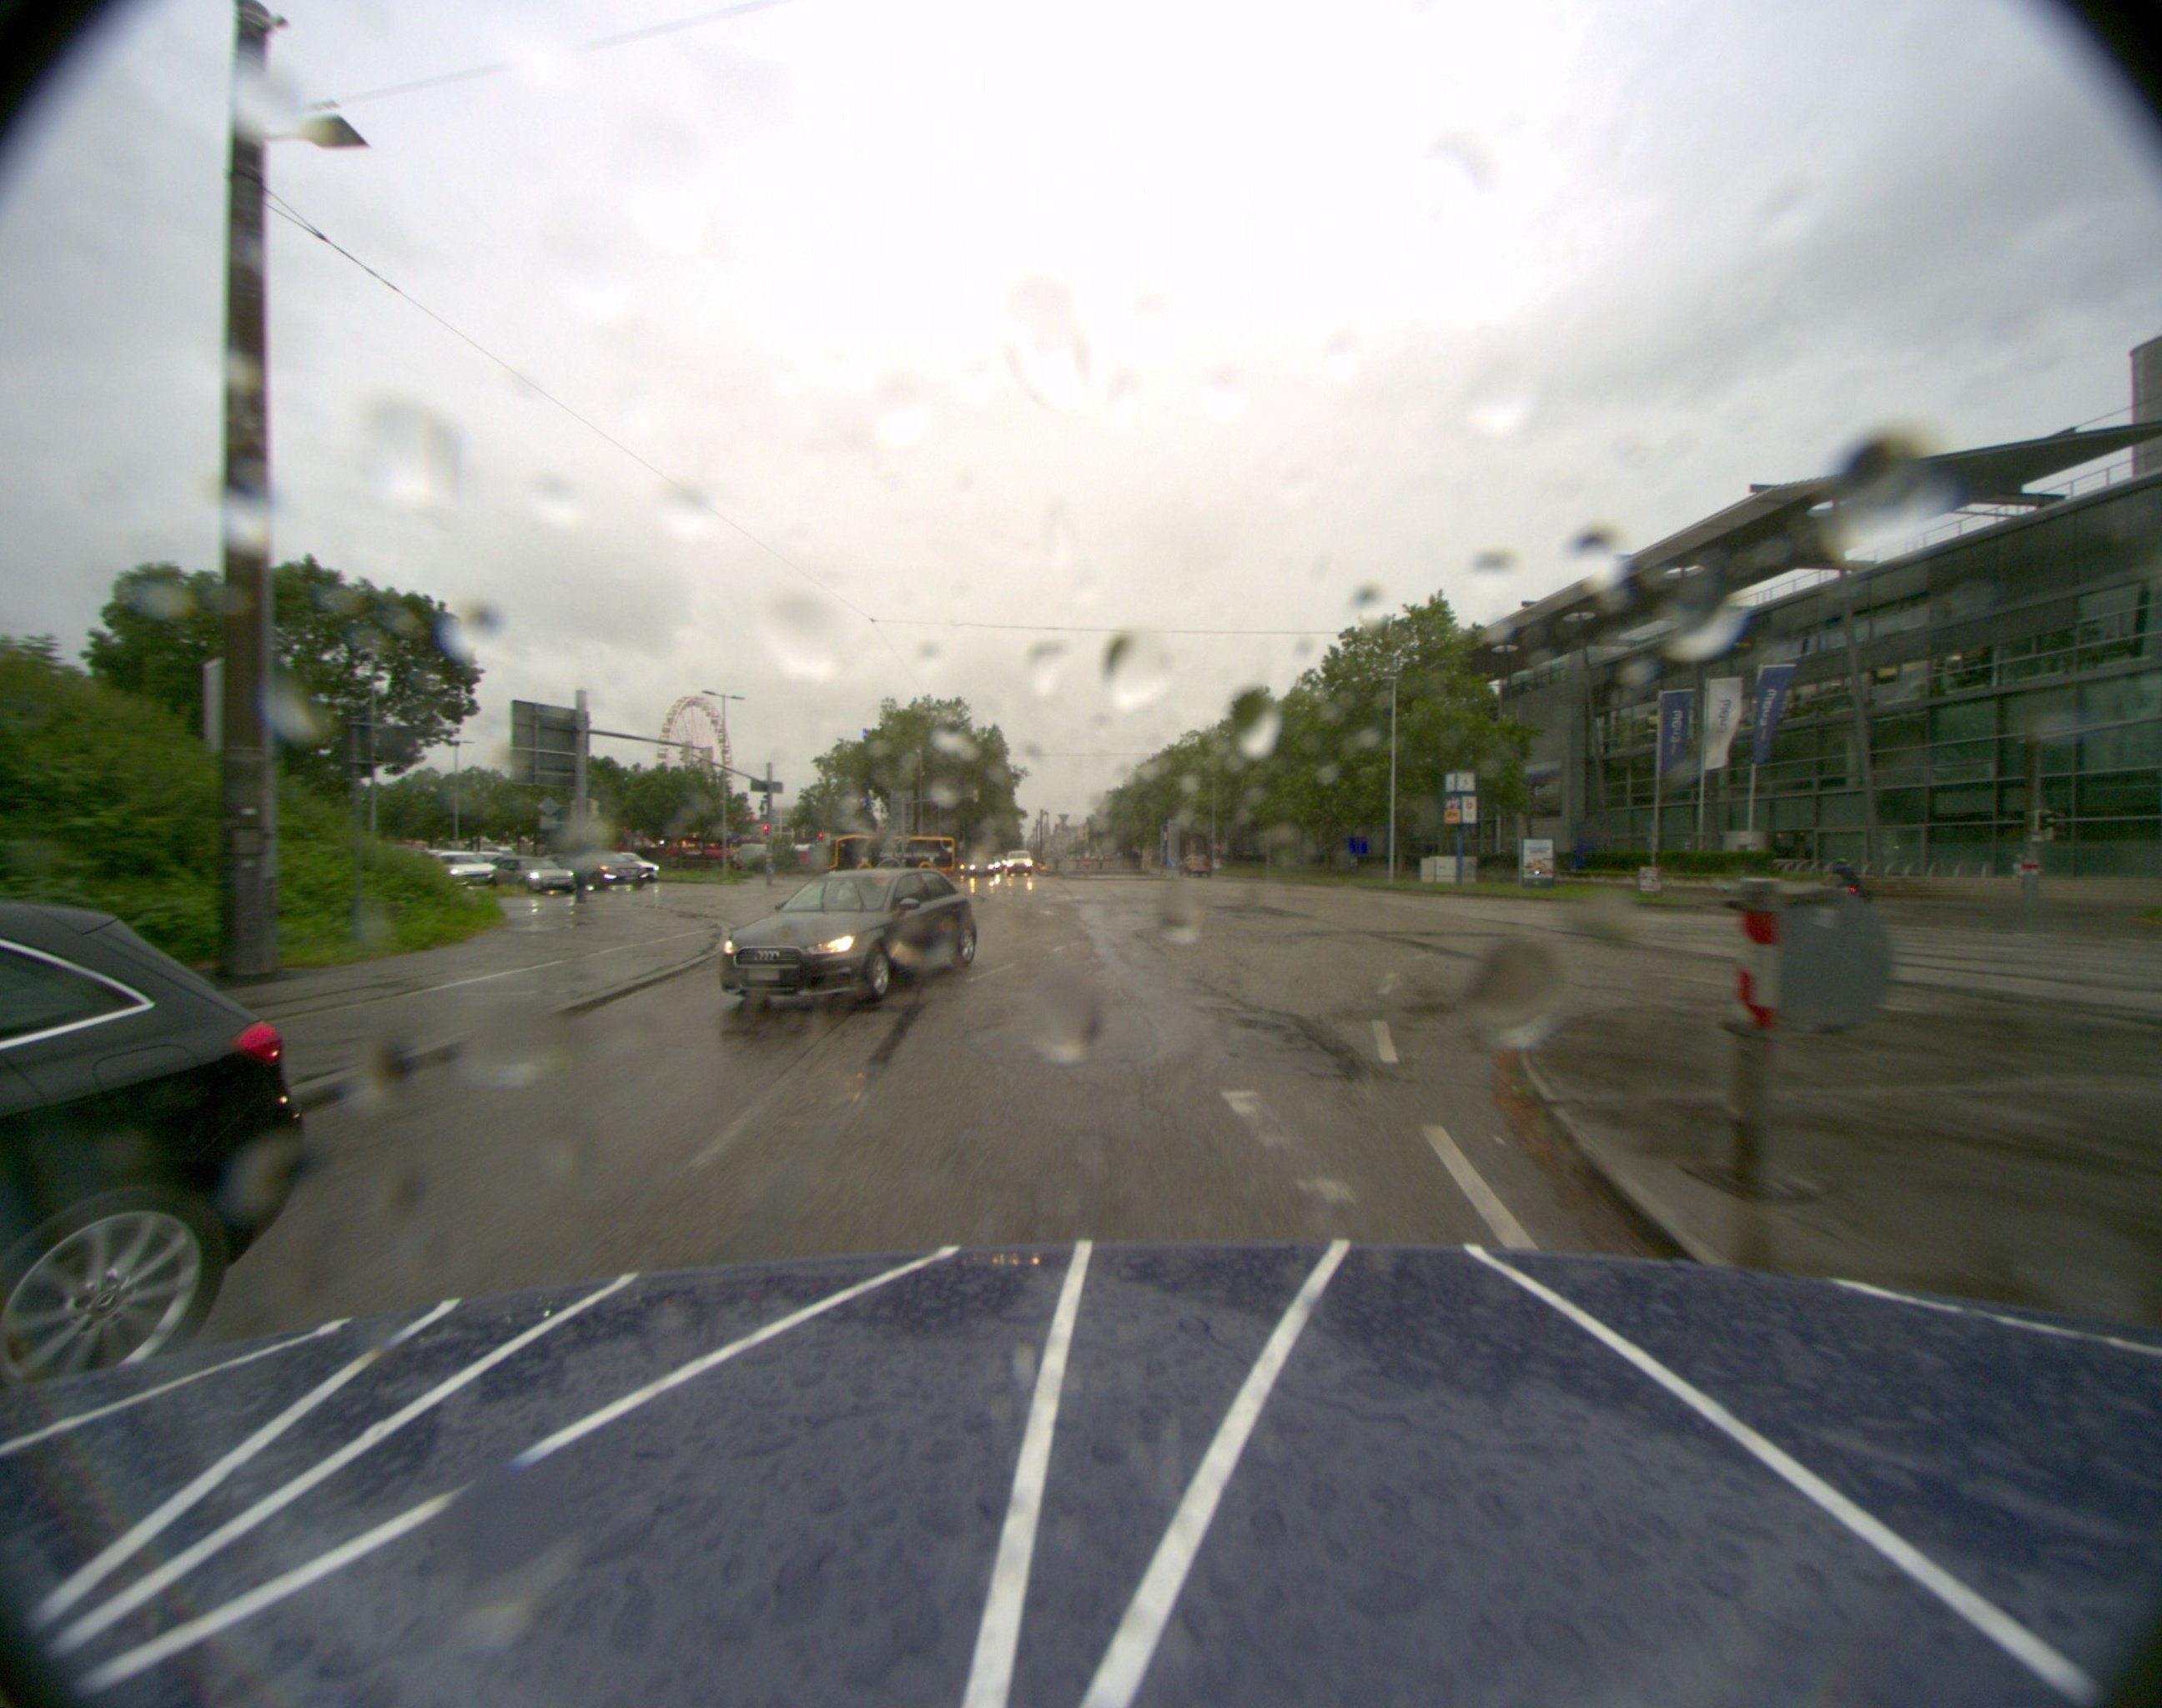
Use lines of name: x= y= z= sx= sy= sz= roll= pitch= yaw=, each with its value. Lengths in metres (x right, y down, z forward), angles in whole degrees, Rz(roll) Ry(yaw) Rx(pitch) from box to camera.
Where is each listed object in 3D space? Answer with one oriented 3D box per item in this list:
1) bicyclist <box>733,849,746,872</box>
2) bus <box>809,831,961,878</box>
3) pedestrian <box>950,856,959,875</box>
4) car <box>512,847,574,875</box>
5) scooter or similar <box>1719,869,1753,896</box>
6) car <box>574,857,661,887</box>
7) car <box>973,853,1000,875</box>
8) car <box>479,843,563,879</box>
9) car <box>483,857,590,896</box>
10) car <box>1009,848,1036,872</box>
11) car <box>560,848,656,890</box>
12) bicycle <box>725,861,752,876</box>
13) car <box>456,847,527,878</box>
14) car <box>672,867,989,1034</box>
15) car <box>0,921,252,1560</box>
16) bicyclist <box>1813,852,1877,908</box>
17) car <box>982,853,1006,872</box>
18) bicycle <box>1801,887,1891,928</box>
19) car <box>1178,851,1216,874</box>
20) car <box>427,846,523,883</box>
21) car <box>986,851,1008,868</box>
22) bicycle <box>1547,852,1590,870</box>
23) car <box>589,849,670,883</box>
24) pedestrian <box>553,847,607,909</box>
bicyclist: x=-28.141 y=0.552 z=62.555 sx=0.620 sy=1.871 sz=0.771 roll=1 pitch=1 yaw=28
bus: x=-14.828 y=0.020 z=59.097 sx=3.265 sy=3.249 sz=12.316 roll=1 pitch=1 yaw=35
pedestrian: x=-10.862 y=1.019 z=65.470 sx=0.644 sy=1.641 sz=0.626 roll=0 pitch=0 yaw=2
car: x=-34.413 y=0.412 z=48.614 sx=3.989 sy=1.710 sz=1.608 roll=1 pitch=1 yaw=28
scooter or similar: x=28.705 y=1.244 z=33.291 sx=0.341 sy=1.132 sz=1.174 roll=0 pitch=1 yaw=-8
car: x=-22.885 y=0.838 z=37.502 sx=3.989 sy=1.350 sz=1.836 roll=1 pitch=1 yaw=26
car: x=-7.310 y=0.773 z=59.240 sx=1.933 sy=1.641 sz=4.339 roll=0 pitch=0 yaw=-5
car: x=-26.311 y=0.305 z=35.686 sx=3.988 sy=1.601 sz=1.866 roll=1 pitch=1 yaw=33
car: x=-21.415 y=0.857 z=29.884 sx=3.989 sy=1.341 sz=1.902 roll=1 pitch=1 yaw=29
car: x=-4.699 y=0.448 z=61.210 sx=2.077 sy=1.838 sz=4.743 roll=0 pitch=0 yaw=-5
car: x=-20.443 y=0.609 z=32.807 sx=4.049 sy=1.647 sz=2.033 roll=1 pitch=1 yaw=34
bicycle: x=-28.212 y=1.190 z=62.606 sx=2.254 sy=1.158 sz=0.823 roll=1 pitch=1 yaw=28
car: x=-34.422 y=0.464 z=44.355 sx=3.989 sy=1.710 sz=1.874 roll=1 pitch=1 yaw=30
car: x=-2.701 y=0.947 z=9.206 sx=1.838 sy=1.390 sz=3.757 roll=0 pitch=2 yaw=15
car: x=-3.550 y=0.978 z=0.367 sx=1.875 sy=1.515 sz=4.086 roll=1 pitch=0 yaw=-2
bicyclist: x=22.317 y=0.764 z=22.219 sx=0.804 sy=1.584 sz=1.047 roll=1 pitch=-1 yaw=0
car: x=-8.629 y=0.840 z=75.450 sx=1.892 sy=1.744 sz=3.995 roll=0 pitch=0 yaw=-14
bicycle: x=22.313 y=1.543 z=22.222 sx=0.694 sy=1.088 sz=1.913 roll=1 pitch=-1 yaw=1
car: x=8.821 y=0.633 z=58.140 sx=1.906 sy=1.622 sz=4.167 roll=1 pitch=0 yaw=-6
car: x=-26.380 y=0.438 z=33.069 sx=3.989 sy=1.474 sz=1.836 roll=1 pitch=1 yaw=28
car: x=-9.241 y=0.574 z=83.231 sx=2.078 sy=1.838 sz=4.741 roll=0 pitch=0 yaw=-11
bicycle: x=37.099 y=0.499 z=57.780 sx=3.702 sy=1.324 sz=1.189 roll=0 pitch=1 yaw=-30
car: x=-25.065 y=0.620 z=42.119 sx=4.290 sy=1.710 sz=2.181 roll=1 pitch=1 yaw=33
pedestrian: x=-14.303 y=0.667 z=21.706 sx=0.818 sy=1.709 sz=1.007 roll=1 pitch=1 yaw=23
